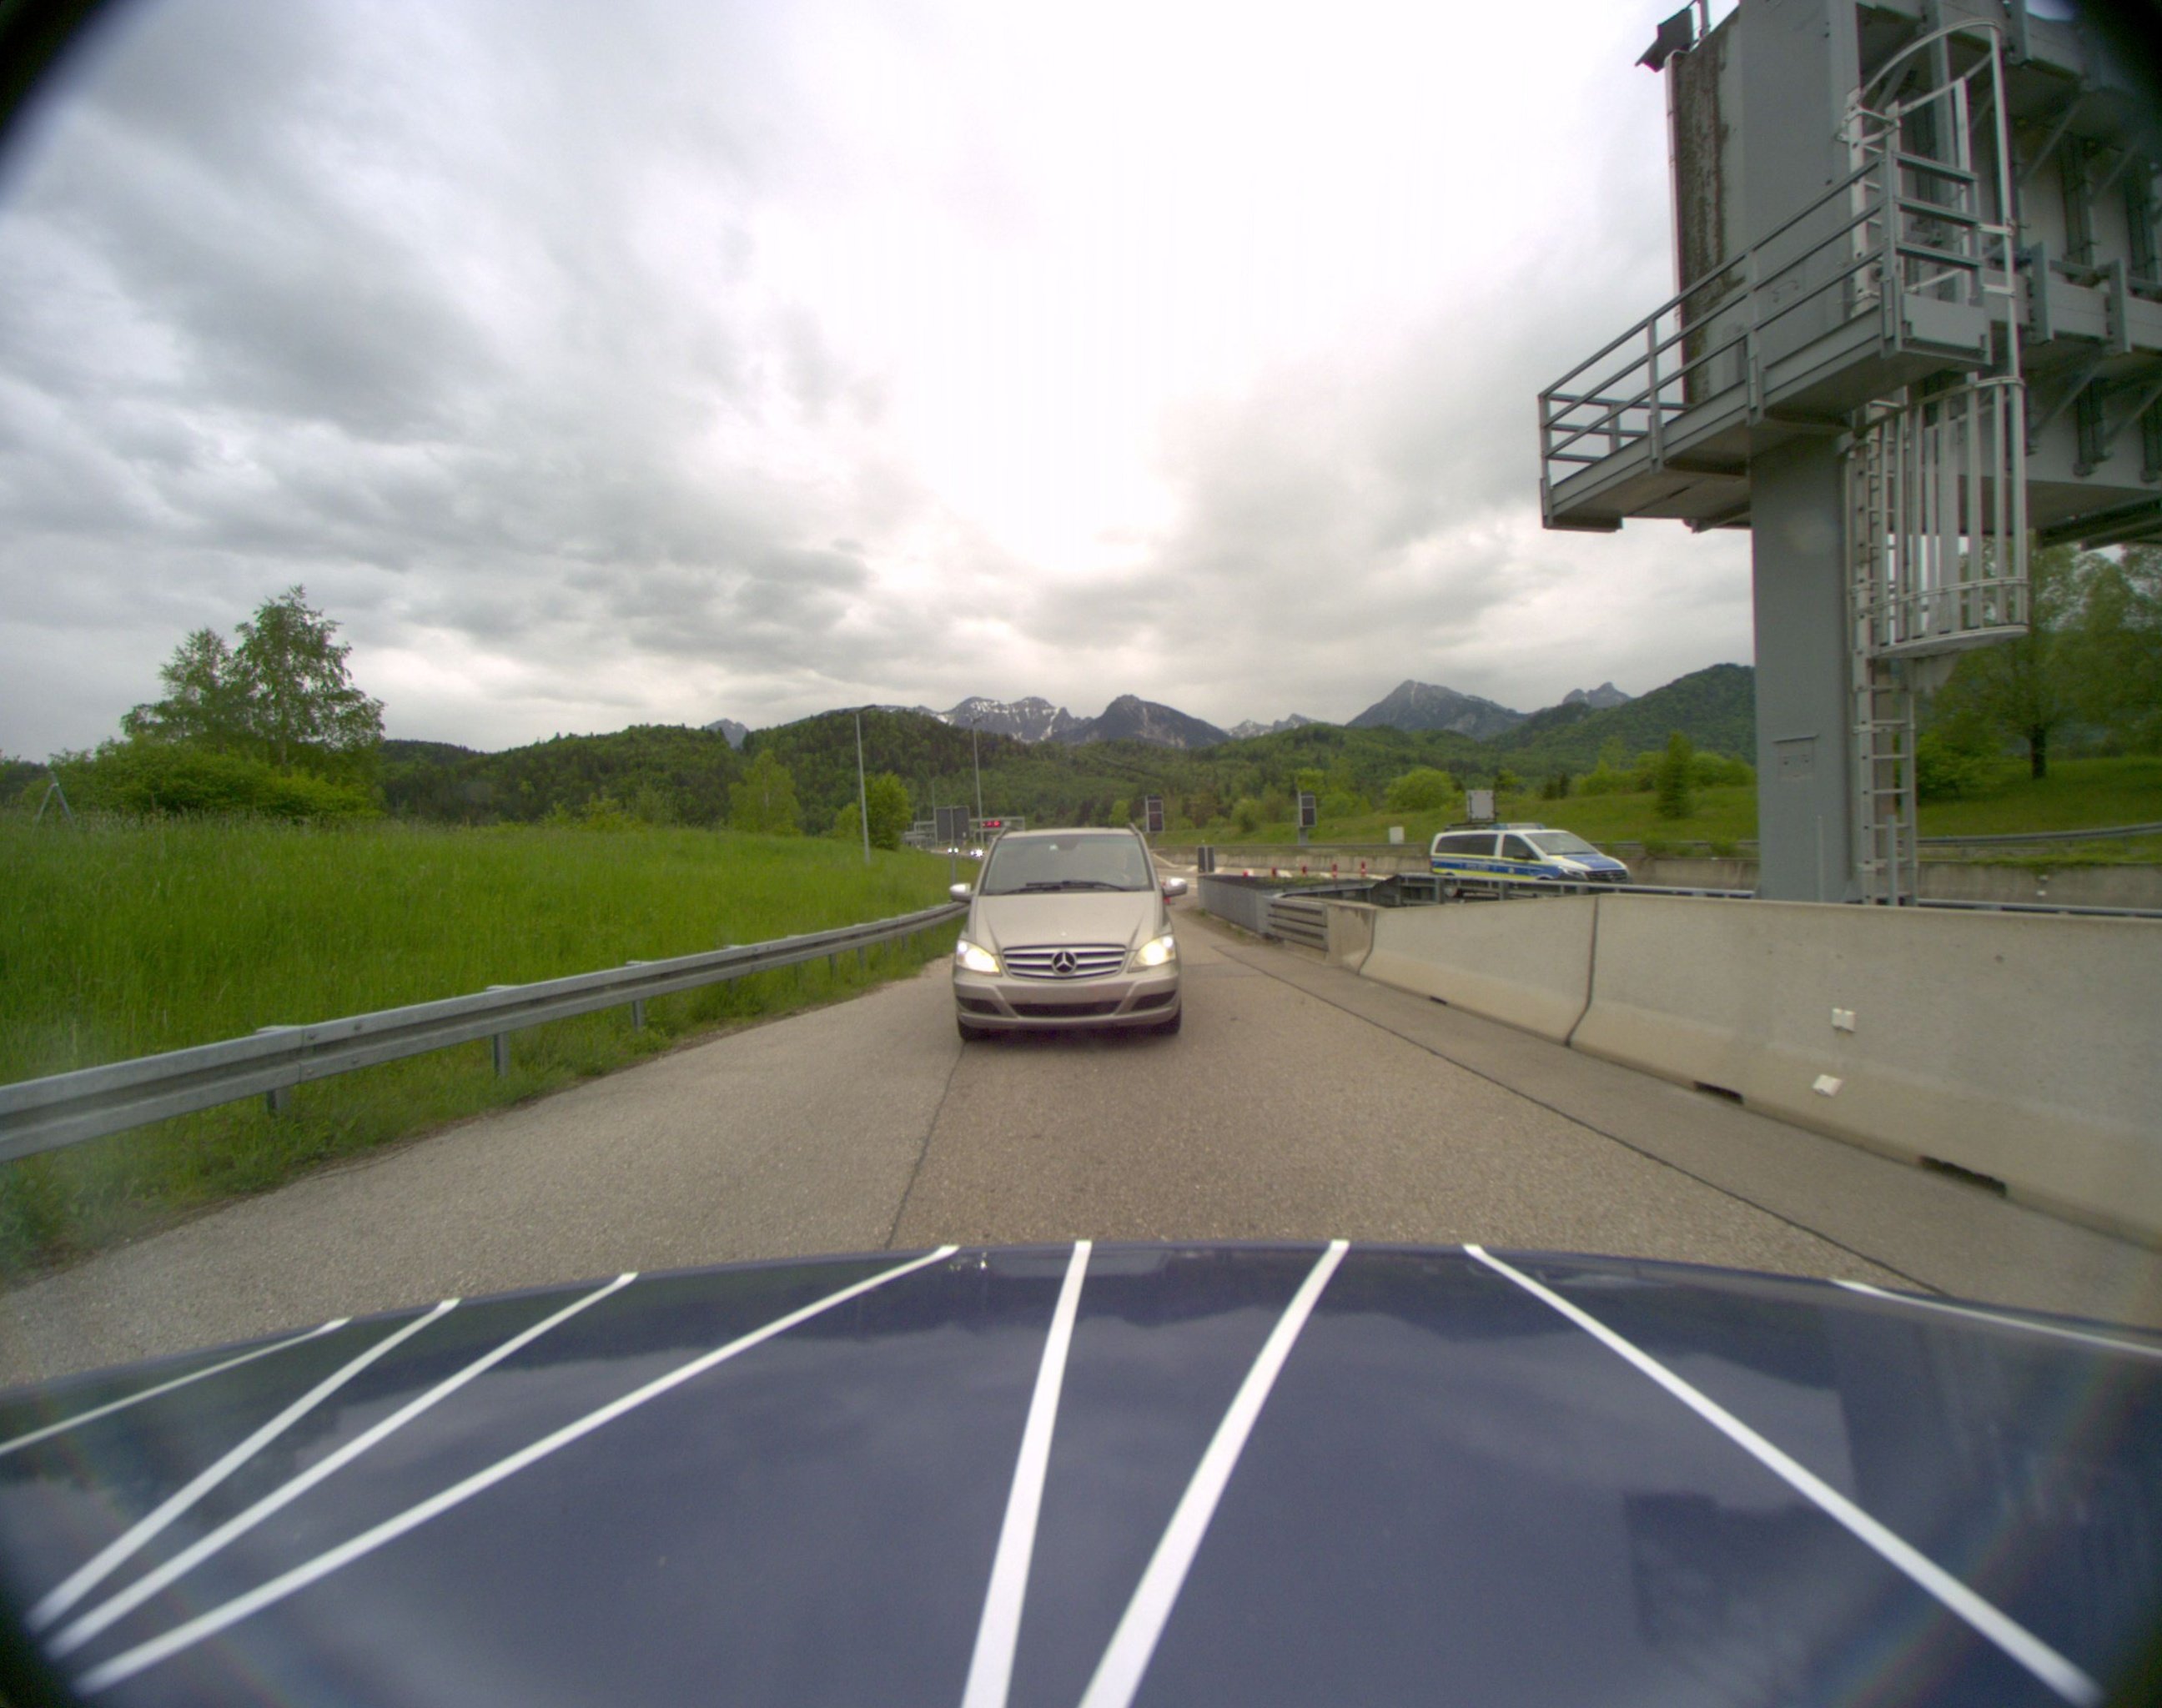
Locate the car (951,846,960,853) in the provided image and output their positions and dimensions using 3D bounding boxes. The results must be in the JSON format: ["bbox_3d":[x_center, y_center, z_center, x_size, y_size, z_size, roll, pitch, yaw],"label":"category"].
[{"bbox_3d":[-31.066,-1.189,188.313,1.722,1.629,4.342,-1,1,-14],"label":"car"}]

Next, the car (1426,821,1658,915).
[{"bbox_3d":[11.327,0.273,19.214,2.106,2.002,5.045,-2,1,-13],"label":"car"}]

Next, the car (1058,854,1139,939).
[{"bbox_3d":[0.393,0.844,17.162,1.591,1.662,4.000,-1,0,1],"label":"car"}]

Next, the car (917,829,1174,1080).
[{"bbox_3d":[-0.105,0.708,8.391,1.862,1.833,5.617,-1,1,3],"label":"car"}]

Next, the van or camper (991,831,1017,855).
[{"bbox_3d":[-11.206,-1.560,109.614,2.585,3.372,7.345,-2,1,-14],"label":"van or camper"}]

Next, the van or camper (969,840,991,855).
[{"bbox_3d":[-18.640,-1.199,139.900,3.345,2.629,8.190,-1,1,-13],"label":"van or camper"}]

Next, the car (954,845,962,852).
[{"bbox_3d":[-30.732,-1.381,189.334,1.868,1.861,3.995,-1,1,-11],"label":"car"}]
